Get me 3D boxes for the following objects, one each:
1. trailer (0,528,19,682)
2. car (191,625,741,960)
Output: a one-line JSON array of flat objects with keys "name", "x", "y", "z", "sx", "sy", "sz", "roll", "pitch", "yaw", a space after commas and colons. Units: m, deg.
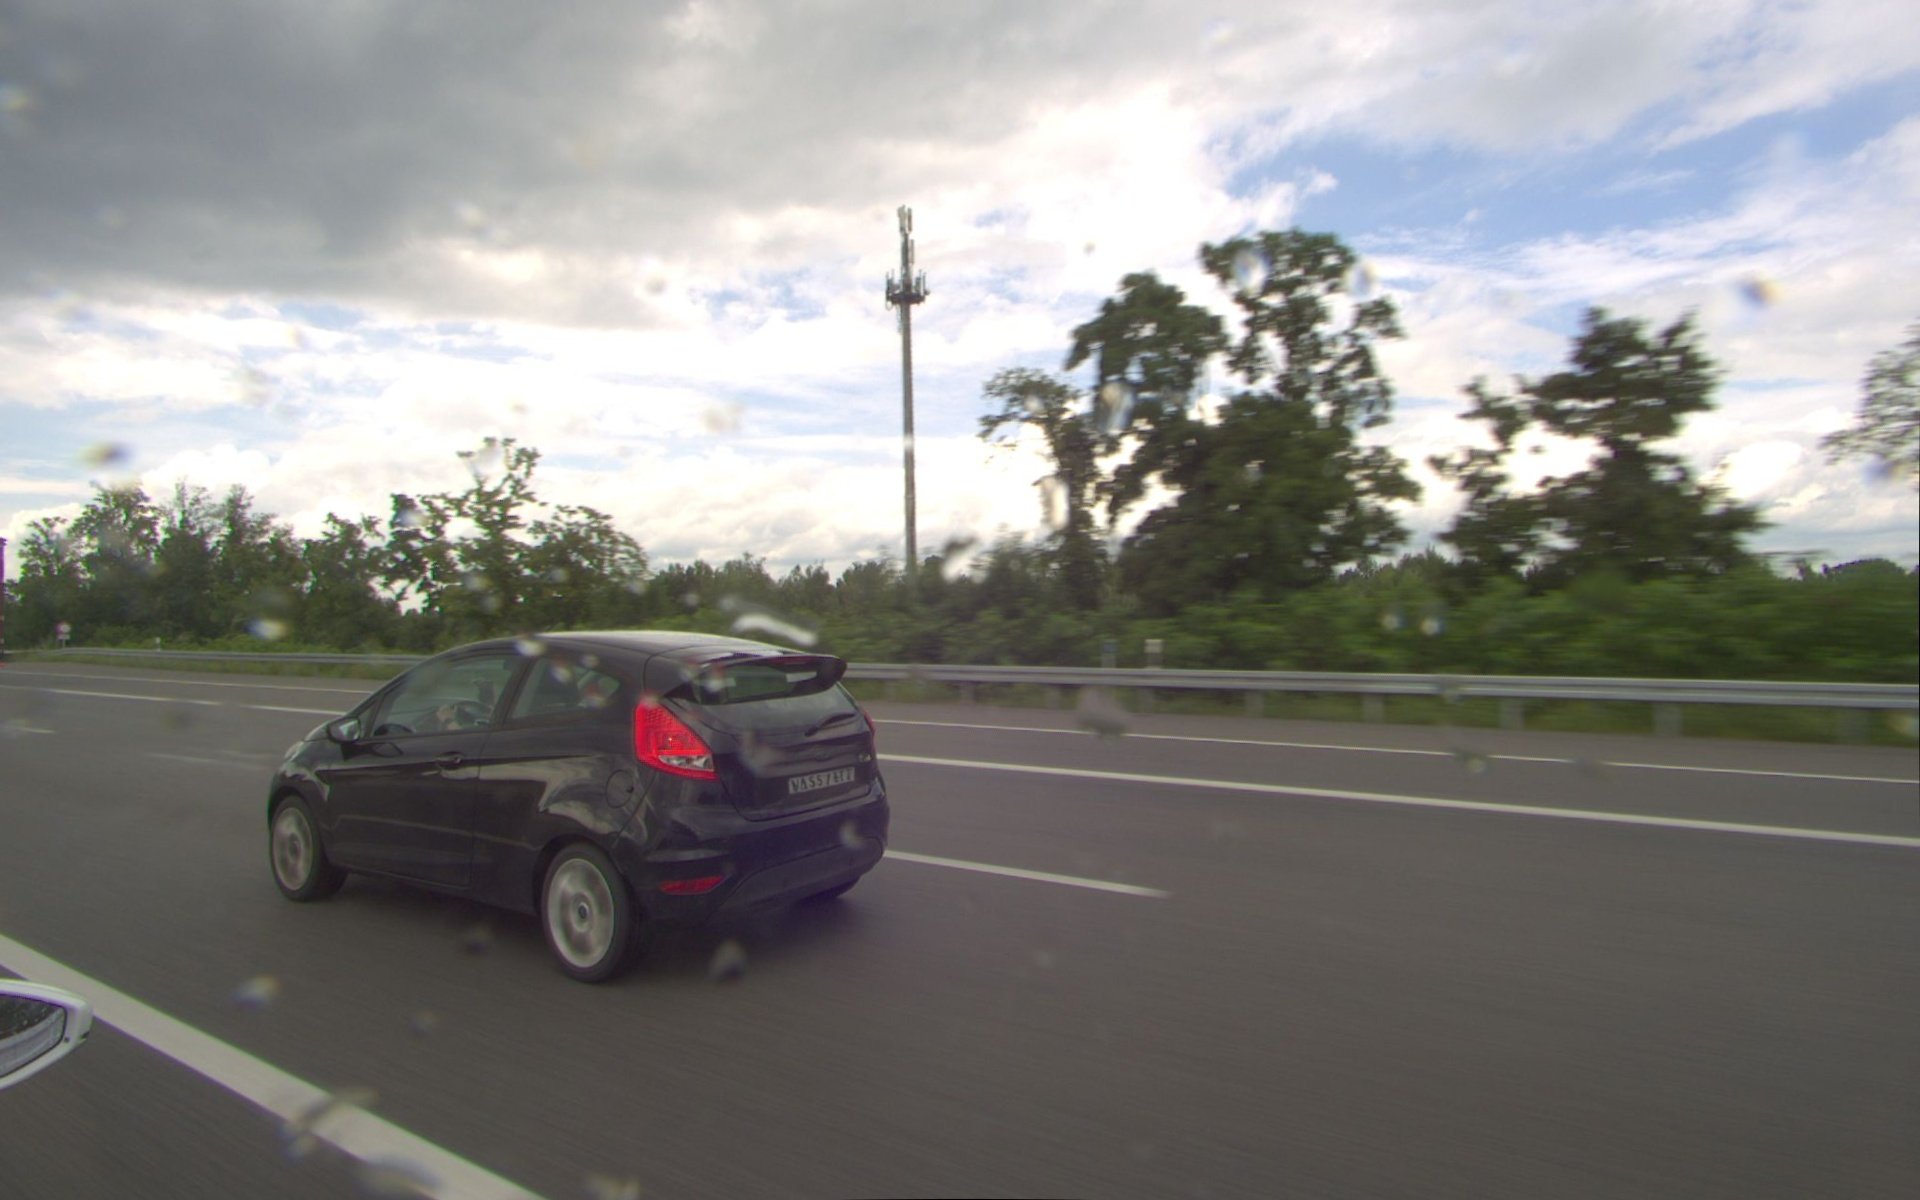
[{"name": "trailer", "x": -31.834, "y": 0.196, "z": 29.505, "sx": 13.922, "sy": 4.072, "sz": 2.955, "roll": -1, "pitch": -1, "yaw": 34}, {"name": "car", "x": -2.929, "y": 0.882, "z": 5.824, "sx": 3.118, "sy": 1.460, "sz": 1.445, "roll": -1, "pitch": -1, "yaw": 32}]
